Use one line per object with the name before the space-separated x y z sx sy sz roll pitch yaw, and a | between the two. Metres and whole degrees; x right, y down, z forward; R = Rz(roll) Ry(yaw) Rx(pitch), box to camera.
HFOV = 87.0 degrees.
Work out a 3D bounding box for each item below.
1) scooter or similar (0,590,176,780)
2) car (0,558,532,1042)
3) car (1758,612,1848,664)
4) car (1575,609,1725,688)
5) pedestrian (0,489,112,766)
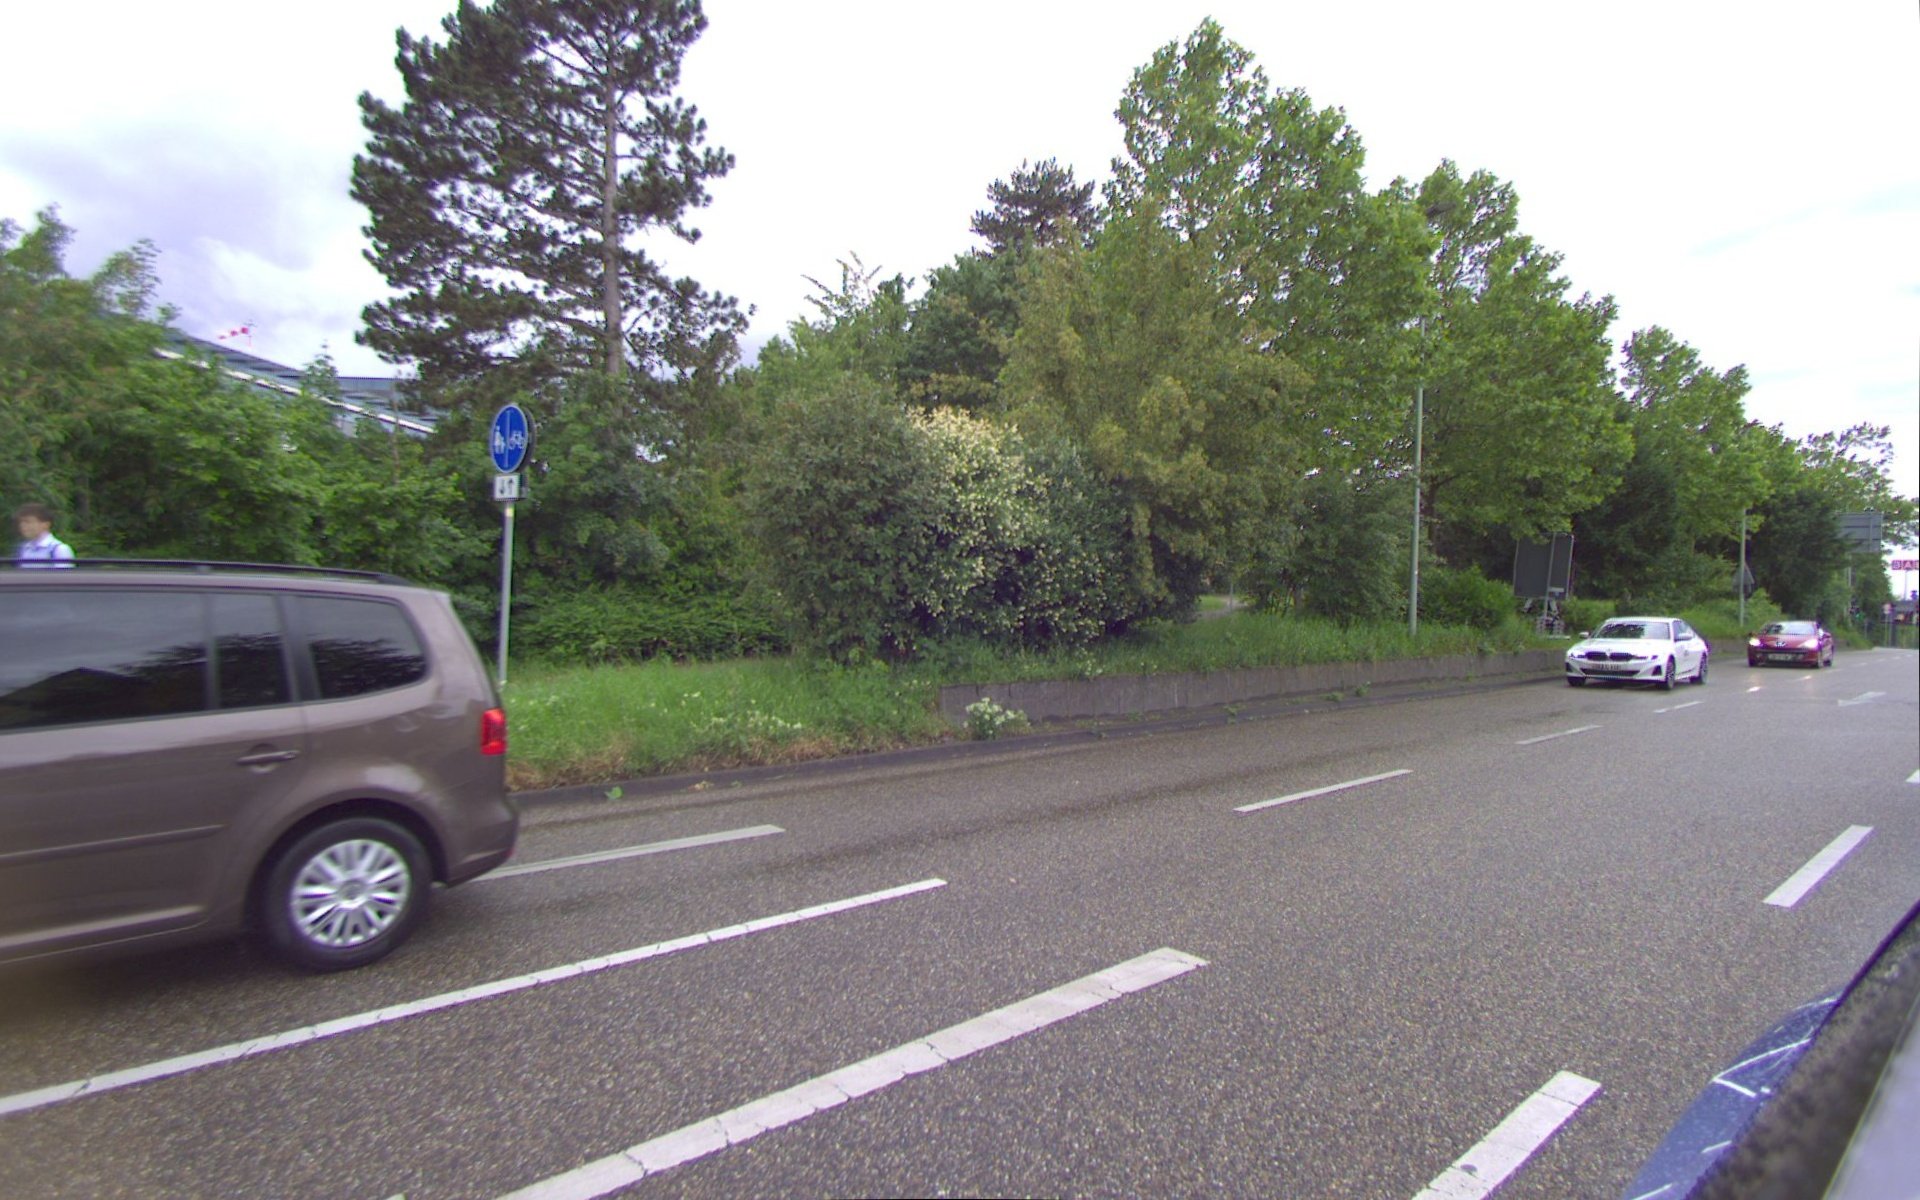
scooter or similar | -7.033 0.618 7.907 0.458 1.378 1.371 1 1 28
car | -3.957 0.657 3.790 4.000 1.595 1.737 0 0 -43
car | 25.511 1.107 30.577 3.626 1.421 1.627 0 0 -43
car | 14.683 0.950 21.439 4.231 1.445 1.667 0 0 -42
pedestrian | -7.156 0.190 7.841 0.652 2.027 0.711 1 1 29
